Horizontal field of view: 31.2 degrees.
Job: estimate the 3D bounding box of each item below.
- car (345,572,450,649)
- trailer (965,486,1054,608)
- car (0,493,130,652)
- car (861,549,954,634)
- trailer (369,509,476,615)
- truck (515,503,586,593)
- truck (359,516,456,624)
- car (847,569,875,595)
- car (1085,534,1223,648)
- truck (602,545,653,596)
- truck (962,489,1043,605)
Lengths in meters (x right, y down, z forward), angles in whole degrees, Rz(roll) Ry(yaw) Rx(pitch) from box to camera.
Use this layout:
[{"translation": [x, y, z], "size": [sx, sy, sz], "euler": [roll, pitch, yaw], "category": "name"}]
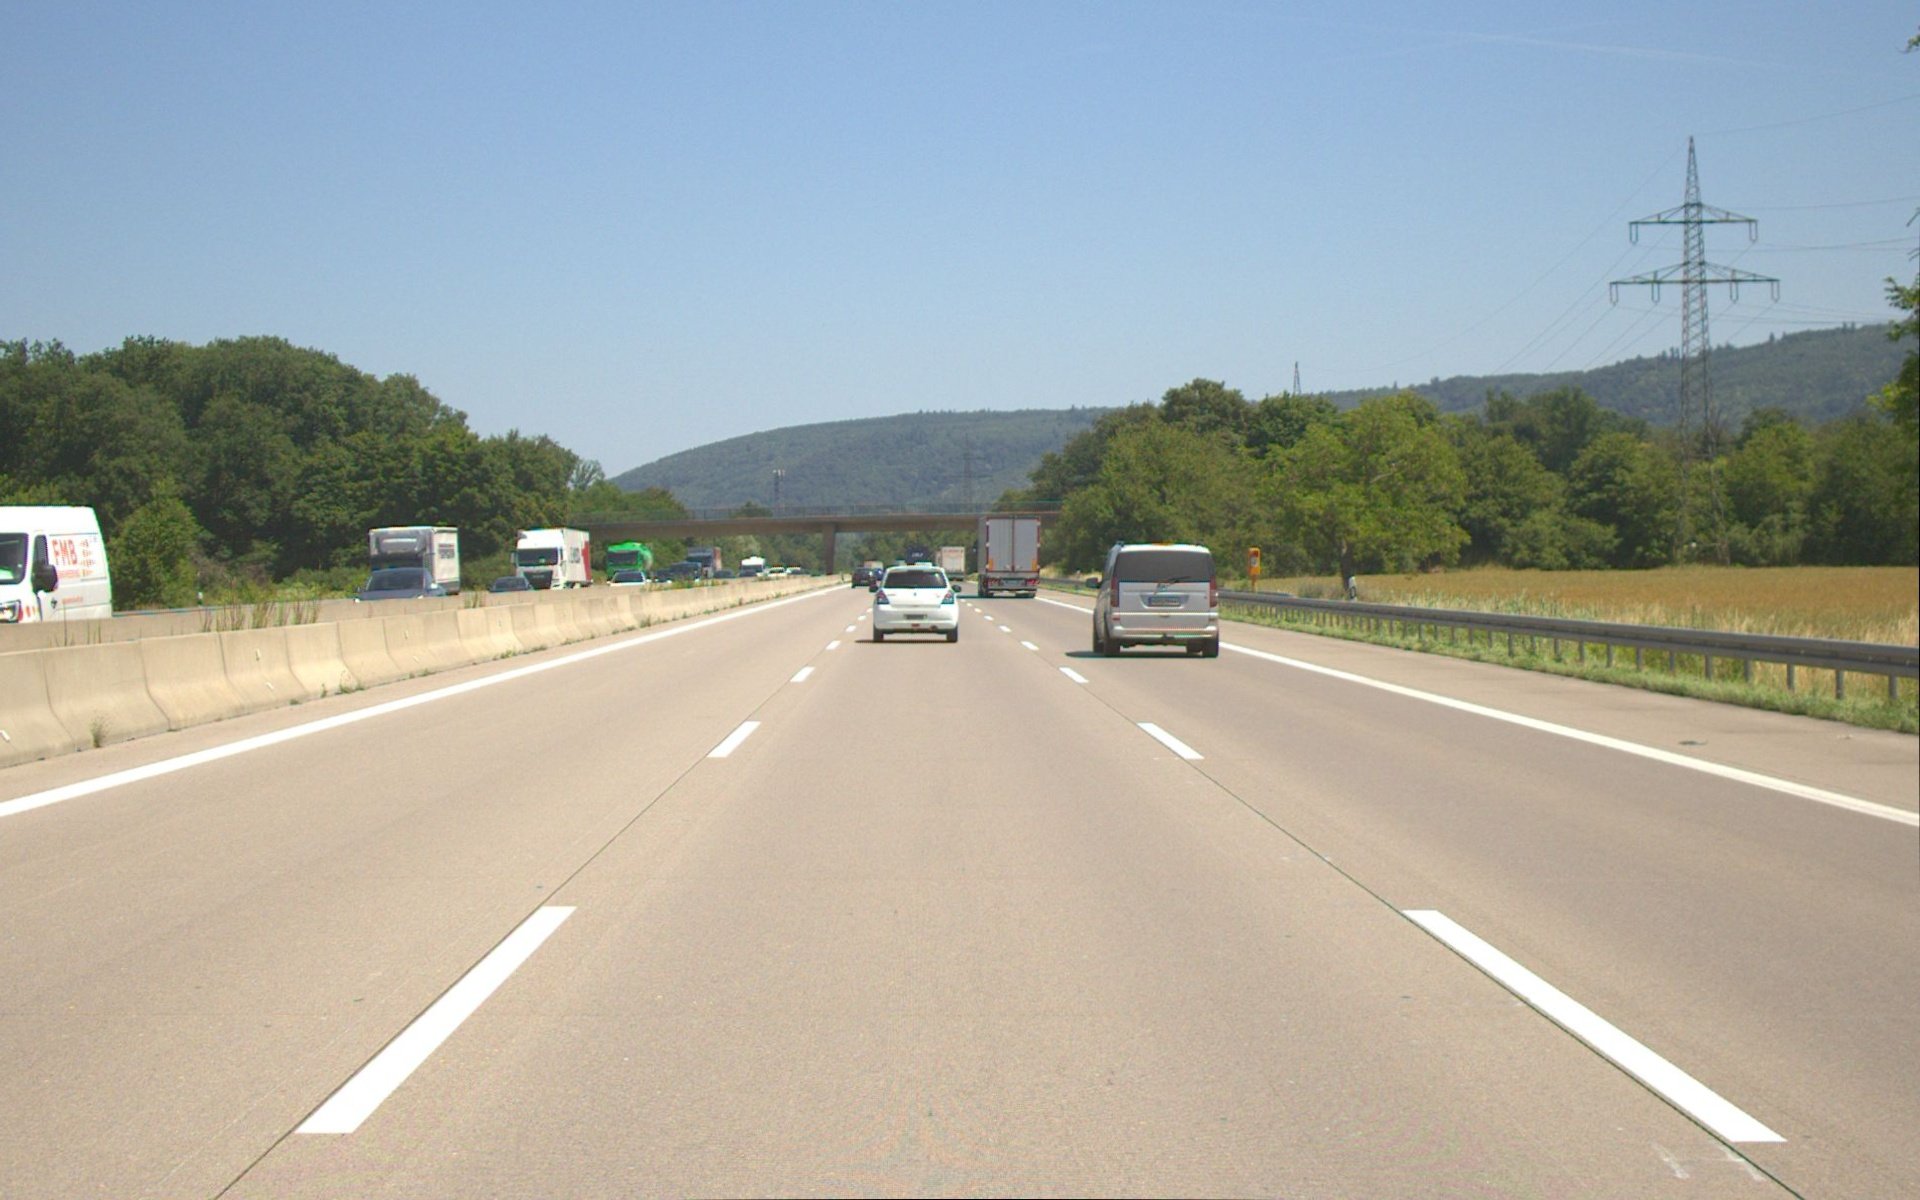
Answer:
[{"translation": [-13.830, 0.244, 84.696], "size": [1.928, 1.787, 4.397], "euler": [1, 1, -1], "category": "car"}, {"translation": [2.360, -2.619, 170.453], "size": [3.720, 5.791, 12.163], "euler": [1, 1, -2], "category": "trailer"}, {"translation": [-12.899, -0.408, 46.302], "size": [2.068, 2.007, 5.981], "euler": [1, 1, -1], "category": "car"}, {"translation": [-1.065, -0.198, 68.887], "size": [1.819, 1.656, 4.000], "euler": [0, 1, -1], "category": "car"}, {"translation": [-21.577, -1.540, 138.503], "size": [2.953, 4.091, 8.484], "euler": [1, 1, 0], "category": "trailer"}, {"translation": [-22.238, -2.828, 187.054], "size": [3.082, 4.745, 6.498], "euler": [1, 1, 0], "category": "truck"}, {"translation": [-21.560, -1.178, 134.435], "size": [2.953, 4.113, 5.086], "euler": [1, 1, 0], "category": "truck"}, {"translation": [-7.018, -1.322, 244.796], "size": [1.928, 1.787, 4.000], "euler": [1, 1, -1], "category": "car"}, {"translation": [3.251, -0.181, 58.323], "size": [1.993, 1.842, 4.000], "euler": [1, 1, -1], "category": "car"}, {"translation": [-24.258, -2.189, 251.171], "size": [3.049, 3.622, 7.978], "euler": [1, 1, -1], "category": "truck"}, {"translation": [2.138, -2.722, 176.646], "size": [3.720, 5.791, 7.054], "euler": [1, 1, -2], "category": "truck"}]
